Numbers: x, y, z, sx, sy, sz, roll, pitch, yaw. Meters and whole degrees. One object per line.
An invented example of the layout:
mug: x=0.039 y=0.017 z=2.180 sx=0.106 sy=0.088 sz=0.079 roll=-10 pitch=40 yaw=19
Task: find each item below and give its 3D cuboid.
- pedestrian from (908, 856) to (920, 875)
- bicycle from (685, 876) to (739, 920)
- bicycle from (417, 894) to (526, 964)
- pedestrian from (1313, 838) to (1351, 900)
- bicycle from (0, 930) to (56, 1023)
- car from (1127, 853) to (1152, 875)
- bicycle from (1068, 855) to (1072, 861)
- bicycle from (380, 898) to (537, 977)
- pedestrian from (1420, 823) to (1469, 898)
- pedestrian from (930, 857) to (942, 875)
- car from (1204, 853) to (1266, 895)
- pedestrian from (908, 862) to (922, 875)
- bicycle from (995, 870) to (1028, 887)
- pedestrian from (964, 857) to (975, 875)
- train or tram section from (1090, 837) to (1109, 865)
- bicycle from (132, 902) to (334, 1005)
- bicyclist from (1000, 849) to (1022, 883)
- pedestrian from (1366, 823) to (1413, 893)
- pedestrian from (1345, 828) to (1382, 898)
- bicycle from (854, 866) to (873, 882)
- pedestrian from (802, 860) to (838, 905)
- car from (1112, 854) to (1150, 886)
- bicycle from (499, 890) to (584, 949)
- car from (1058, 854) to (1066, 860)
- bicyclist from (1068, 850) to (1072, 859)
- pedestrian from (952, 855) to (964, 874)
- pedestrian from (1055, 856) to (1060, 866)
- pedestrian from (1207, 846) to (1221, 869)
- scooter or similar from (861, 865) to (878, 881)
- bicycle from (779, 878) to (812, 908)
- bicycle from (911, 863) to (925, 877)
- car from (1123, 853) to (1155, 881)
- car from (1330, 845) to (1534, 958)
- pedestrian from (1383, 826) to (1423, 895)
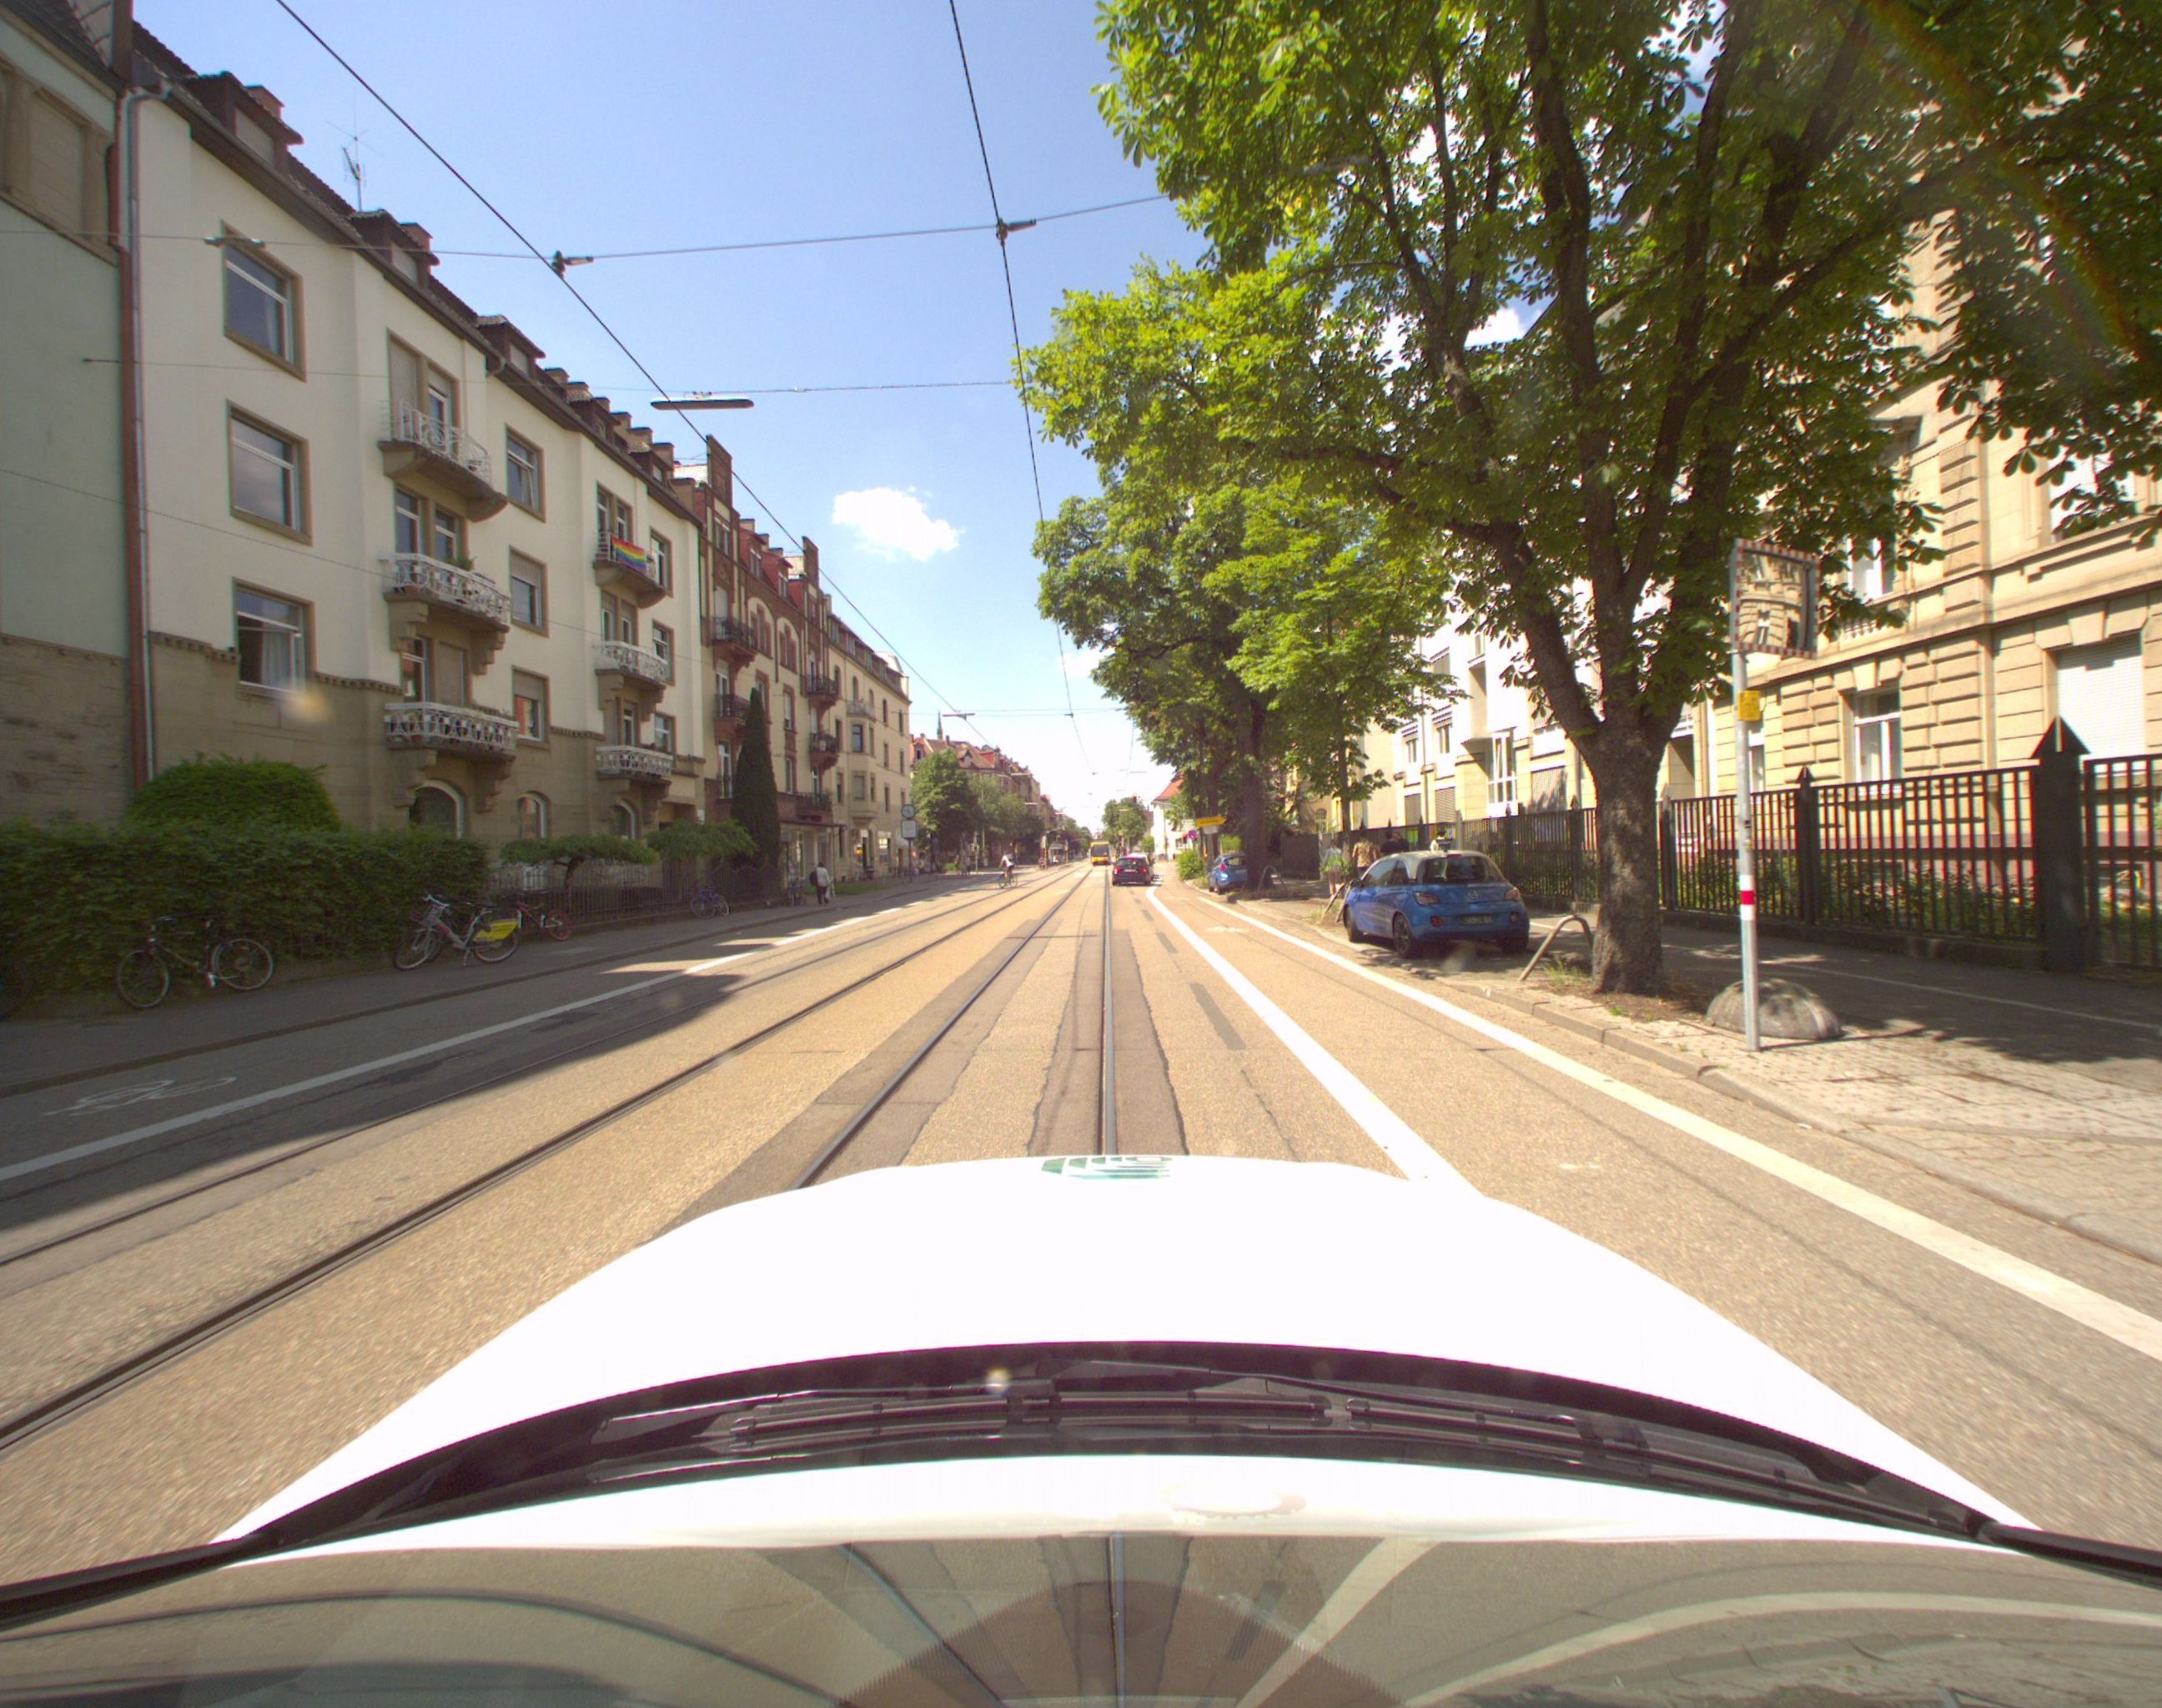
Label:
pedestrian: x=-15.127 y=1.056 z=73.761 sx=0.780 sy=1.732 sz=0.852 roll=0 pitch=0 yaw=-42
bicycle: x=-10.078 y=1.185 z=22.318 sx=0.605 sy=1.065 sz=1.772 roll=2 pitch=0 yaw=1
bicycle: x=-10.174 y=1.225 z=13.672 sx=0.462 sy=0.999 sz=1.709 roll=1 pitch=0 yaw=2
pedestrian: x=6.934 y=0.396 z=22.514 sx=0.763 sy=1.651 sz=0.975 roll=-2 pitch=0 yaw=5
bicycle: x=-12.022 y=1.299 z=8.740 sx=1.566 sy=0.928 sz=0.391 roll=0 pitch=0 yaw=1
car: x=4.233 y=0.669 z=58.370 sx=1.683 sy=1.514 sz=3.828 roll=0 pitch=0 yaw=6
bicycle: x=-2.283 y=0.872 z=171.444 sx=0.726 sy=1.101 sz=1.716 roll=-1 pitch=1 yaw=2
bicycle: x=-9.484 y=1.237 z=12.473 sx=0.602 sy=0.999 sz=1.786 roll=-2 pitch=0 yaw=37
pedestrian: x=9.035 y=0.164 z=20.273 sx=0.682 sy=1.797 sz=1.084 roll=-2 pitch=0 yaw=2
pedestrian: x=-13.602 y=1.096 z=76.564 sx=0.857 sy=1.635 sz=1.026 roll=-2 pitch=0 yaw=1
car: x=5.796 y=0.718 z=30.946 sx=1.671 sy=1.443 sz=3.721 roll=-2 pitch=0 yaw=1
pedestrian: x=-14.026 y=1.232 z=68.738 sx=0.912 sy=1.077 sz=0.883 roll=-2 pitch=0 yaw=3
bicycle: x=-3.408 y=1.191 z=39.806 sx=0.758 sy=0.818 sz=1.799 roll=-1 pitch=-1 yaw=-38
pedestrian: x=-10.658 y=1.118 z=77.727 sx=0.915 sy=1.723 sz=0.838 roll=-2 pitch=0 yaw=-7
train or tram section: x=2.486 y=-0.423 z=107.565 sx=2.182 sy=3.482 sz=8.848 roll=-2 pitch=0 yaw=2
bicycle: x=-10.500 y=1.189 z=10.188 sx=0.605 sy=1.032 sz=1.772 roll=2 pitch=0 yaw=1
bicyclist: x=-3.435 y=0.589 z=39.887 sx=0.762 sy=1.663 sz=0.821 roll=0 pitch=-1 yaw=-40
pedestrian: x=8.099 y=0.108 z=21.418 sx=0.784 sy=1.761 sz=1.052 roll=-2 pitch=0 yaw=1
pedestrian: x=7.435 y=0.230 z=21.488 sx=0.701 sy=1.776 sz=0.949 roll=-2 pitch=0 yaw=8
bicycle: x=-14.378 y=1.314 z=53.939 sx=0.366 sy=1.066 sz=1.473 roll=-1 pitch=-1 yaw=25
pedestrian: x=-9.279 y=0.997 z=28.961 sx=0.897 sy=1.542 sz=0.984 roll=-2 pitch=0 yaw=1
car: x=2.434 y=0.747 z=39.611 sx=1.715 sy=1.409 sz=4.569 roll=0 pitch=0 yaw=4
bicycle: x=-10.283 y=1.226 z=15.599 sx=0.411 sy=0.966 sz=1.726 roll=1 pitch=0 yaw=2
car: x=-5.256 y=0.916 z=228.592 sx=1.785 sy=1.586 sz=3.991 roll=-1 pitch=-1 yaw=-7
bicyclist: x=-2.288 y=0.100 z=171.489 sx=0.720 sy=1.870 sz=0.826 roll=-2 pitch=0 yaw=1
pedestrian: x=-12.118 y=1.042 z=80.229 sx=0.897 sy=1.891 sz=1.165 roll=-2 pitch=0 yaw=1
pedestrian: x=-3.005 y=0.903 z=103.857 sx=0.612 sy=1.243 sz=0.627 roll=-2 pitch=0 yaw=-4
pedestrian: x=10.126 y=0.265 z=62.012 sx=0.853 sy=1.645 sz=0.837 roll=-2 pitch=0 yaw=4
scooter or similar: x=-14.516 y=1.308 z=55.894 sx=0.699 sy=1.044 sz=1.196 roll=0 pitch=-1 yaw=-39
bicycle: x=-9.903 y=1.330 z=28.300 sx=0.409 sy=0.961 sz=1.842 roll=1 pitch=-1 yaw=2
bicycle: x=-14.491 y=1.442 z=72.338 sx=0.547 sy=1.128 sz=1.664 roll=-1 pitch=-2 yaw=-35
car: x=3.295 y=0.714 z=46.428 sx=1.677 sy=1.484 sz=3.688 roll=-2 pitch=0 yaw=4
car: x=5.241 y=0.639 z=12.672 sx=1.685 sy=1.453 sz=3.474 roll=-2 pitch=0 yaw=1
pedestrian: x=8.806 y=0.176 z=22.309 sx=0.658 sy=1.811 sz=0.977 roll=-2 pitch=0 yaw=2
